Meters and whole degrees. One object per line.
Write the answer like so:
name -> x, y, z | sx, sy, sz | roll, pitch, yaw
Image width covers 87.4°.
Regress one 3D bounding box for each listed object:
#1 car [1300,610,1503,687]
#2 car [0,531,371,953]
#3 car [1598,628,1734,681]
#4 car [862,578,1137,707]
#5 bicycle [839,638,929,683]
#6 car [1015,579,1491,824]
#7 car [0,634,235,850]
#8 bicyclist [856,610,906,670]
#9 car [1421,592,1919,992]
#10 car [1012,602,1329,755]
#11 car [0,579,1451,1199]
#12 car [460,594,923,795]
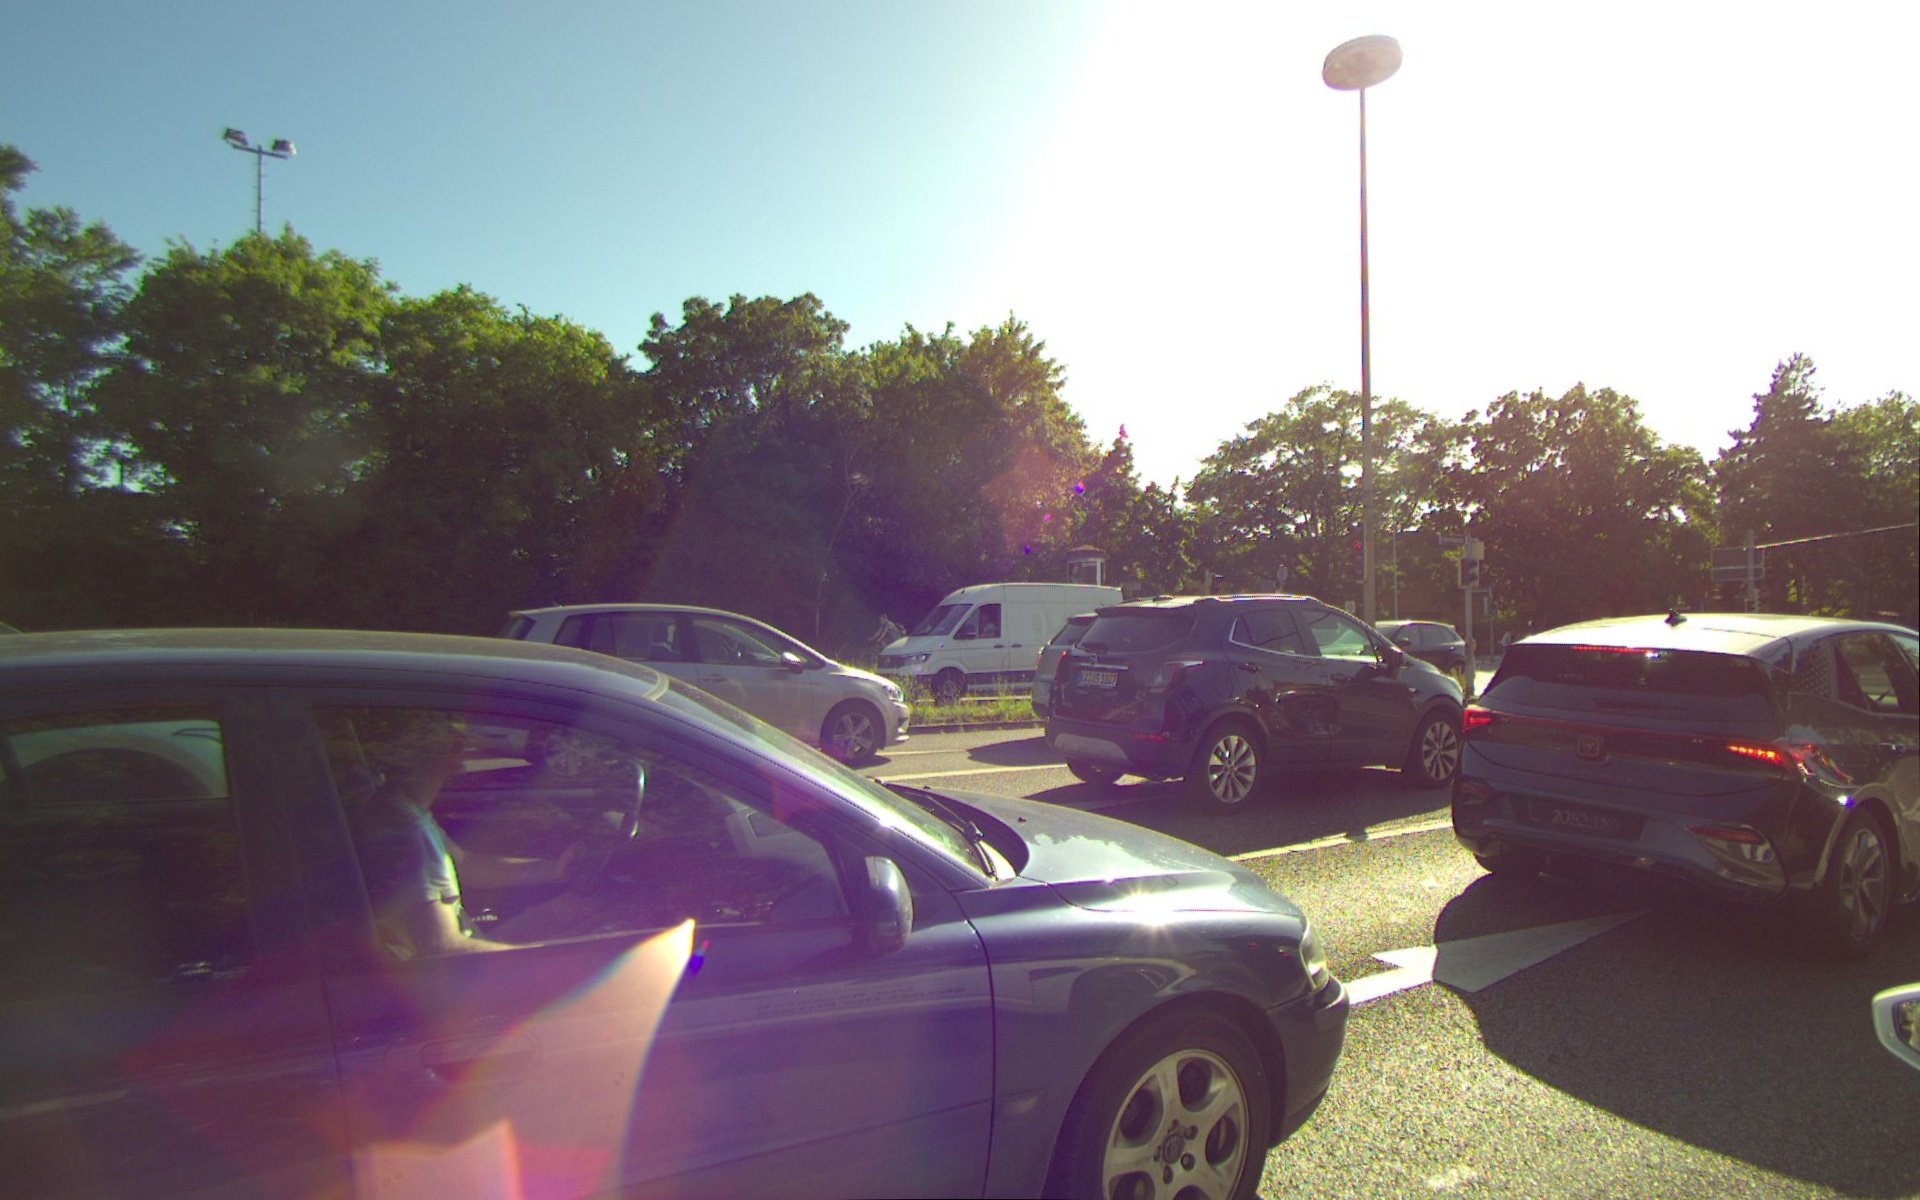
car -> 10.153, 1.080, 23.058 | 4.561, 1.622, 1.984 | 1, -2, -30
car -> -5.225, 0.594, 4.529 | 4.373, 1.732, 1.984 | 1, -2, -30
car -> 21.037, 1.574, 29.894 | 4.116, 1.482, 1.768 | 1, -2, -30
car -> 0.955, 0.916, 22.176 | 5.934, 2.525, 2.090 | 1, -2, -31
bicycle -> -2.178, 1.715, 28.978 | 2.511, 1.228, 0.870 | 1, -2, -35
car -> 2.615, 0.766, 8.797 | 3.953, 1.711, 1.796 | 1, -2, -30
car -> -7.918, 0.959, 6.948 | 4.499, 1.448, 1.822 | 1, -2, -30
bicyclist -> -2.278, 1.152, 28.908 | 1.187, 1.670, 0.870 | 1, -2, -35
car -> 4.735, 0.825, 5.818 | 4.158, 1.601, 1.676 | 2, -1, -30
car -> 2.805, 0.950, 13.184 | 3.956, 1.724, 1.820 | 1, -2, -32
car -> -1.101, 0.722, 2.203 | 4.404, 1.471, 1.767 | 2, 0, -30
car -> -2.618, 0.832, 10.008 | 4.156, 1.632, 1.822 | 1, -2, -30
